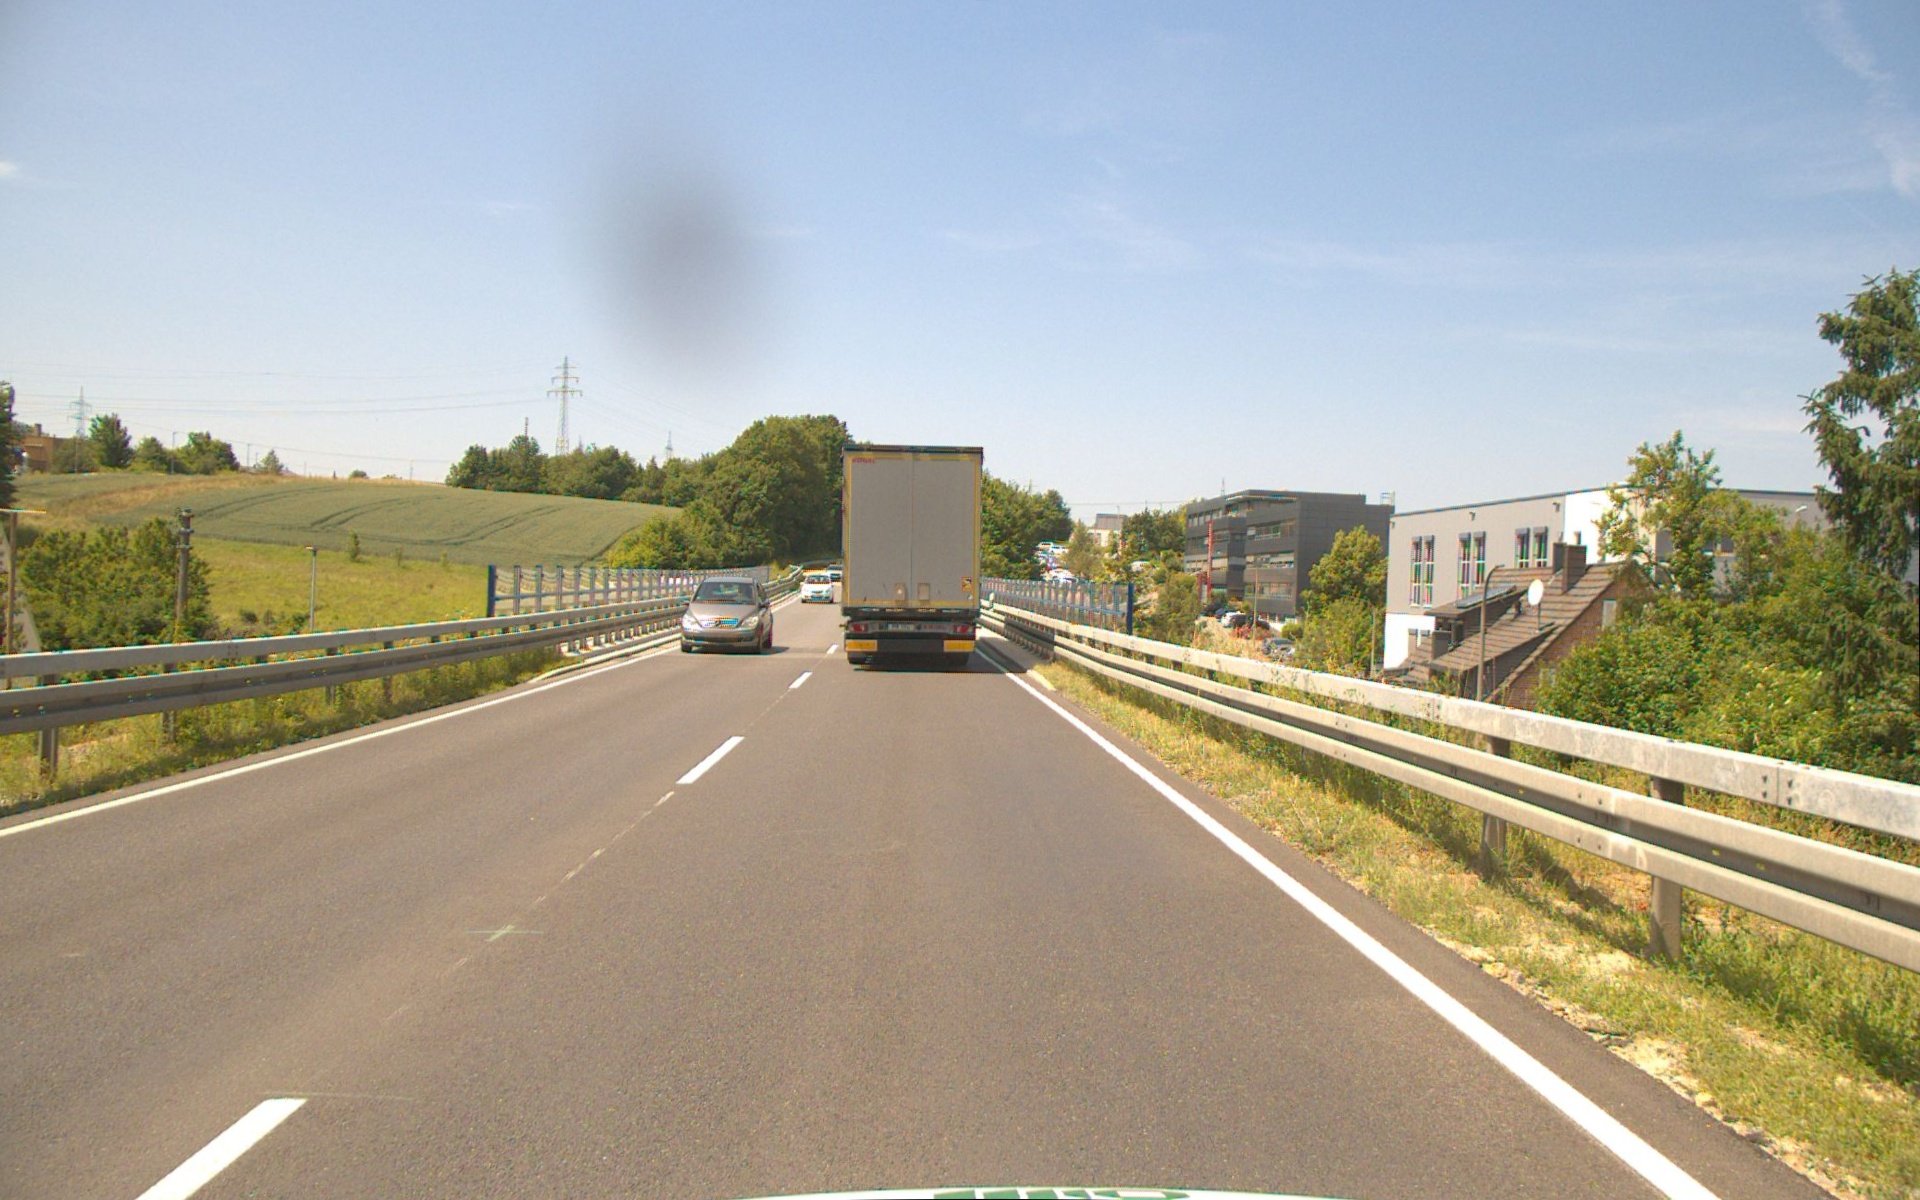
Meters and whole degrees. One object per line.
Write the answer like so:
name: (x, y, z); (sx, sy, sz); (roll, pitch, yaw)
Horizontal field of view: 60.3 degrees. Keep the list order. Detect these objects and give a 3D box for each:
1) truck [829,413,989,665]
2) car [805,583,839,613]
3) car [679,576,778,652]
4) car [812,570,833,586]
truck: (-1.122, -1.061, 34.082); (2.809, 4.436, 9.783); (0, 0, -3)
car: (-7.379, -0.120, 88.946); (1.673, 1.531, 4.116); (0, 0, -3)
car: (-5.158, 0.291, 37.268); (1.770, 1.617, 4.377); (0, 0, -2)
car: (-12.234, -1.973, 147.601); (1.746, 1.460, 4.831); (0, 1, -4)
